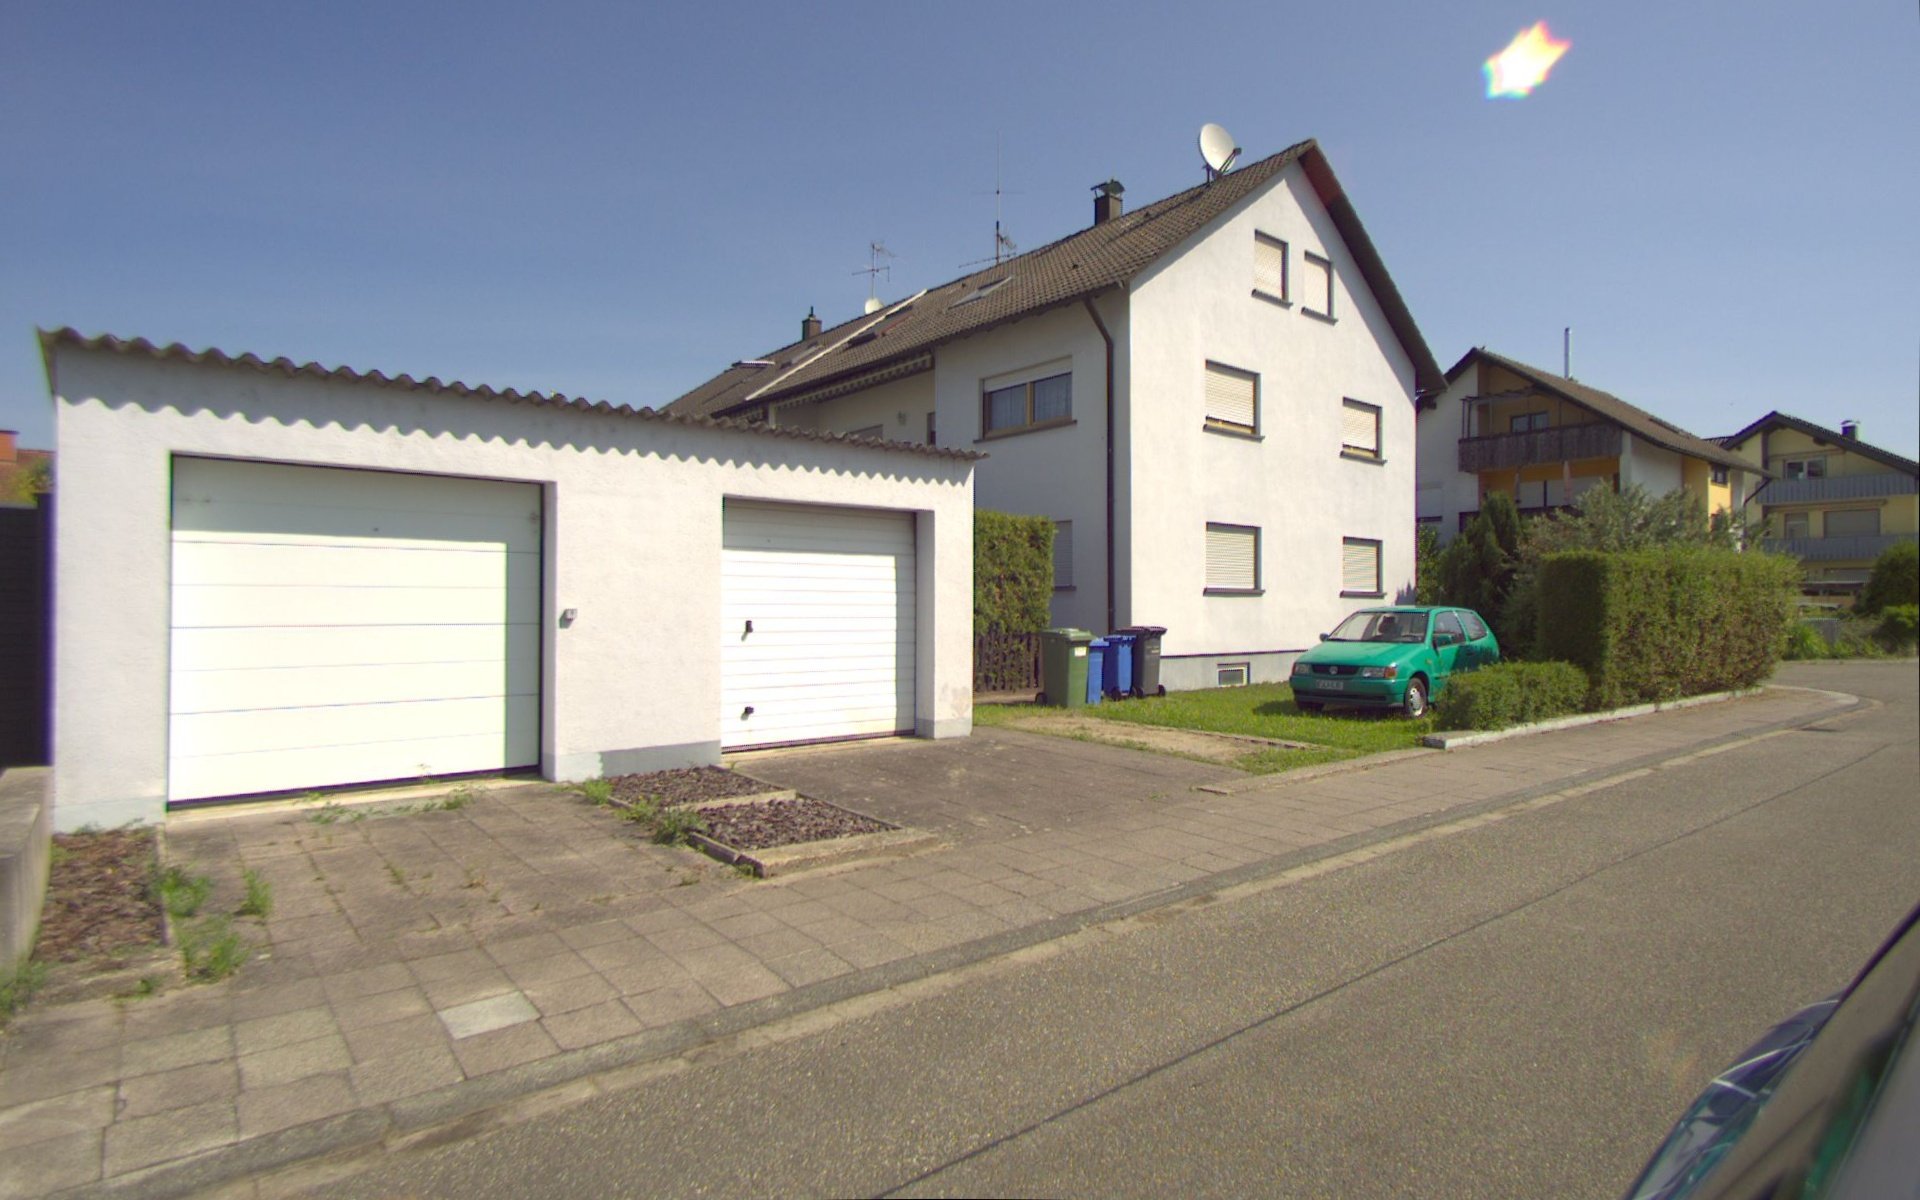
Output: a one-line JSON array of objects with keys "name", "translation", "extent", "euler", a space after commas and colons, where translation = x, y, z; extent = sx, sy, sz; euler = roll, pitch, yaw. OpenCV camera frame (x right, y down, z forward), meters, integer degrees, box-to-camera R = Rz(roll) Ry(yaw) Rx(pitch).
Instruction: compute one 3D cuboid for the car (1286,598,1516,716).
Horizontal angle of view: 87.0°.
[{"name": "car", "translation": [5.971, 0.669, 13.552], "extent": [3.465, 1.376, 1.496], "euler": [0, 0, -41]}]
